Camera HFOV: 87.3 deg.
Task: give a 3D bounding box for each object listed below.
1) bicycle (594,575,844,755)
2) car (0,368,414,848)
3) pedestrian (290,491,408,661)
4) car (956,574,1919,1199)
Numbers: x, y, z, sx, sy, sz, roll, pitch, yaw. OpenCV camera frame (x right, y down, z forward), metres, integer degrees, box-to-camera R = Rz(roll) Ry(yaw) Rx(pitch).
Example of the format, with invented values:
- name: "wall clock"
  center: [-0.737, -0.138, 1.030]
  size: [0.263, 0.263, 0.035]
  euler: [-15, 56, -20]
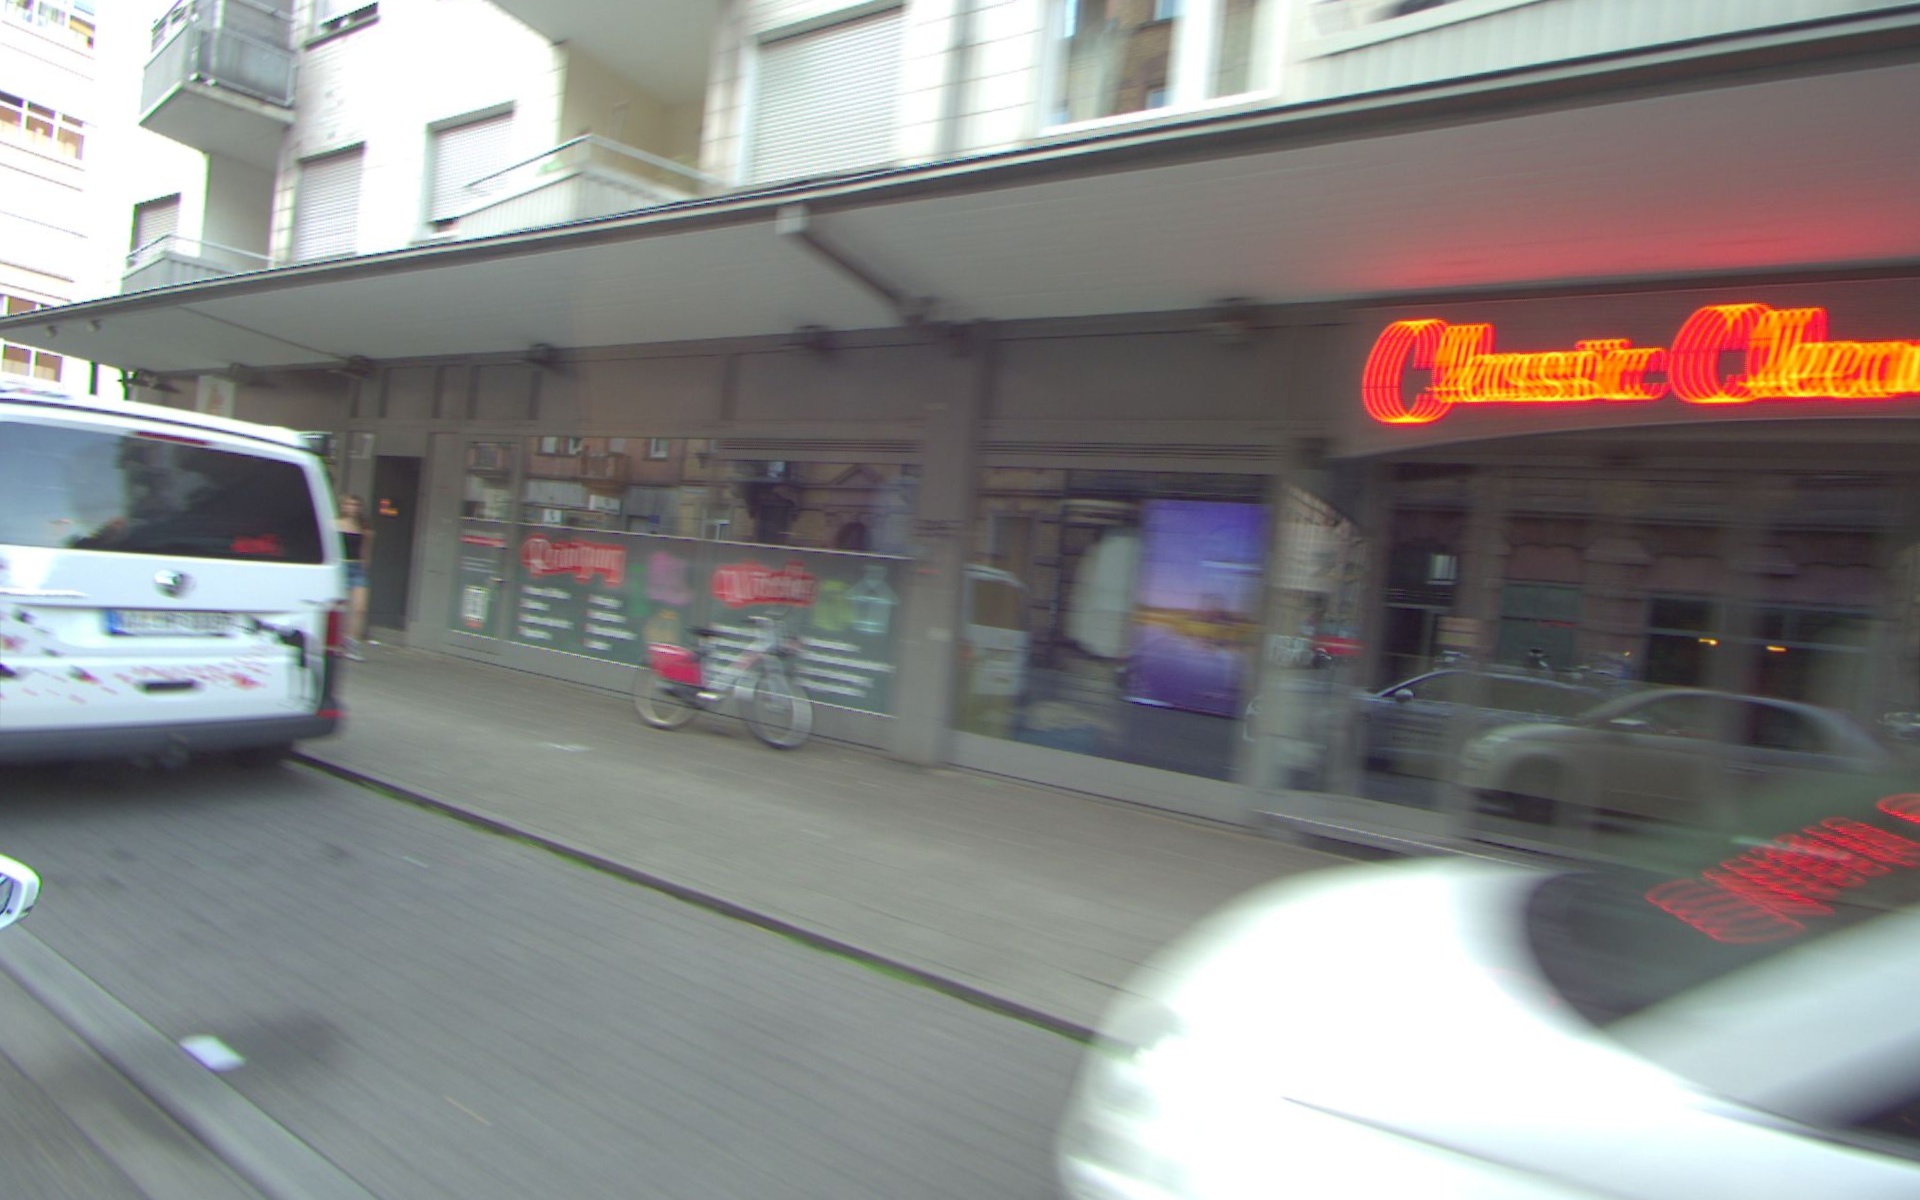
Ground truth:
- name: "bicycle"
  center: [-1.942, 0.482, 8.179]
  size: [1.679, 1.212, 0.912]
  euler: [5, 2, 18]
- name: "car"
  center: [-5.685, -0.167, 6.083]
  size: [4.920, 2.000, 1.959]
  euler: [7, 2, 32]
- name: "pedestrian"
  center: [-6.376, -0.241, 10.505]
  size: [0.732, 1.687, 0.709]
  euler: [5, 2, 31]
- name: "car"
  center: [1.859, 0.896, 1.544]
  size: [3.365, 1.521, 1.593]
  euler: [6, 2, 30]
